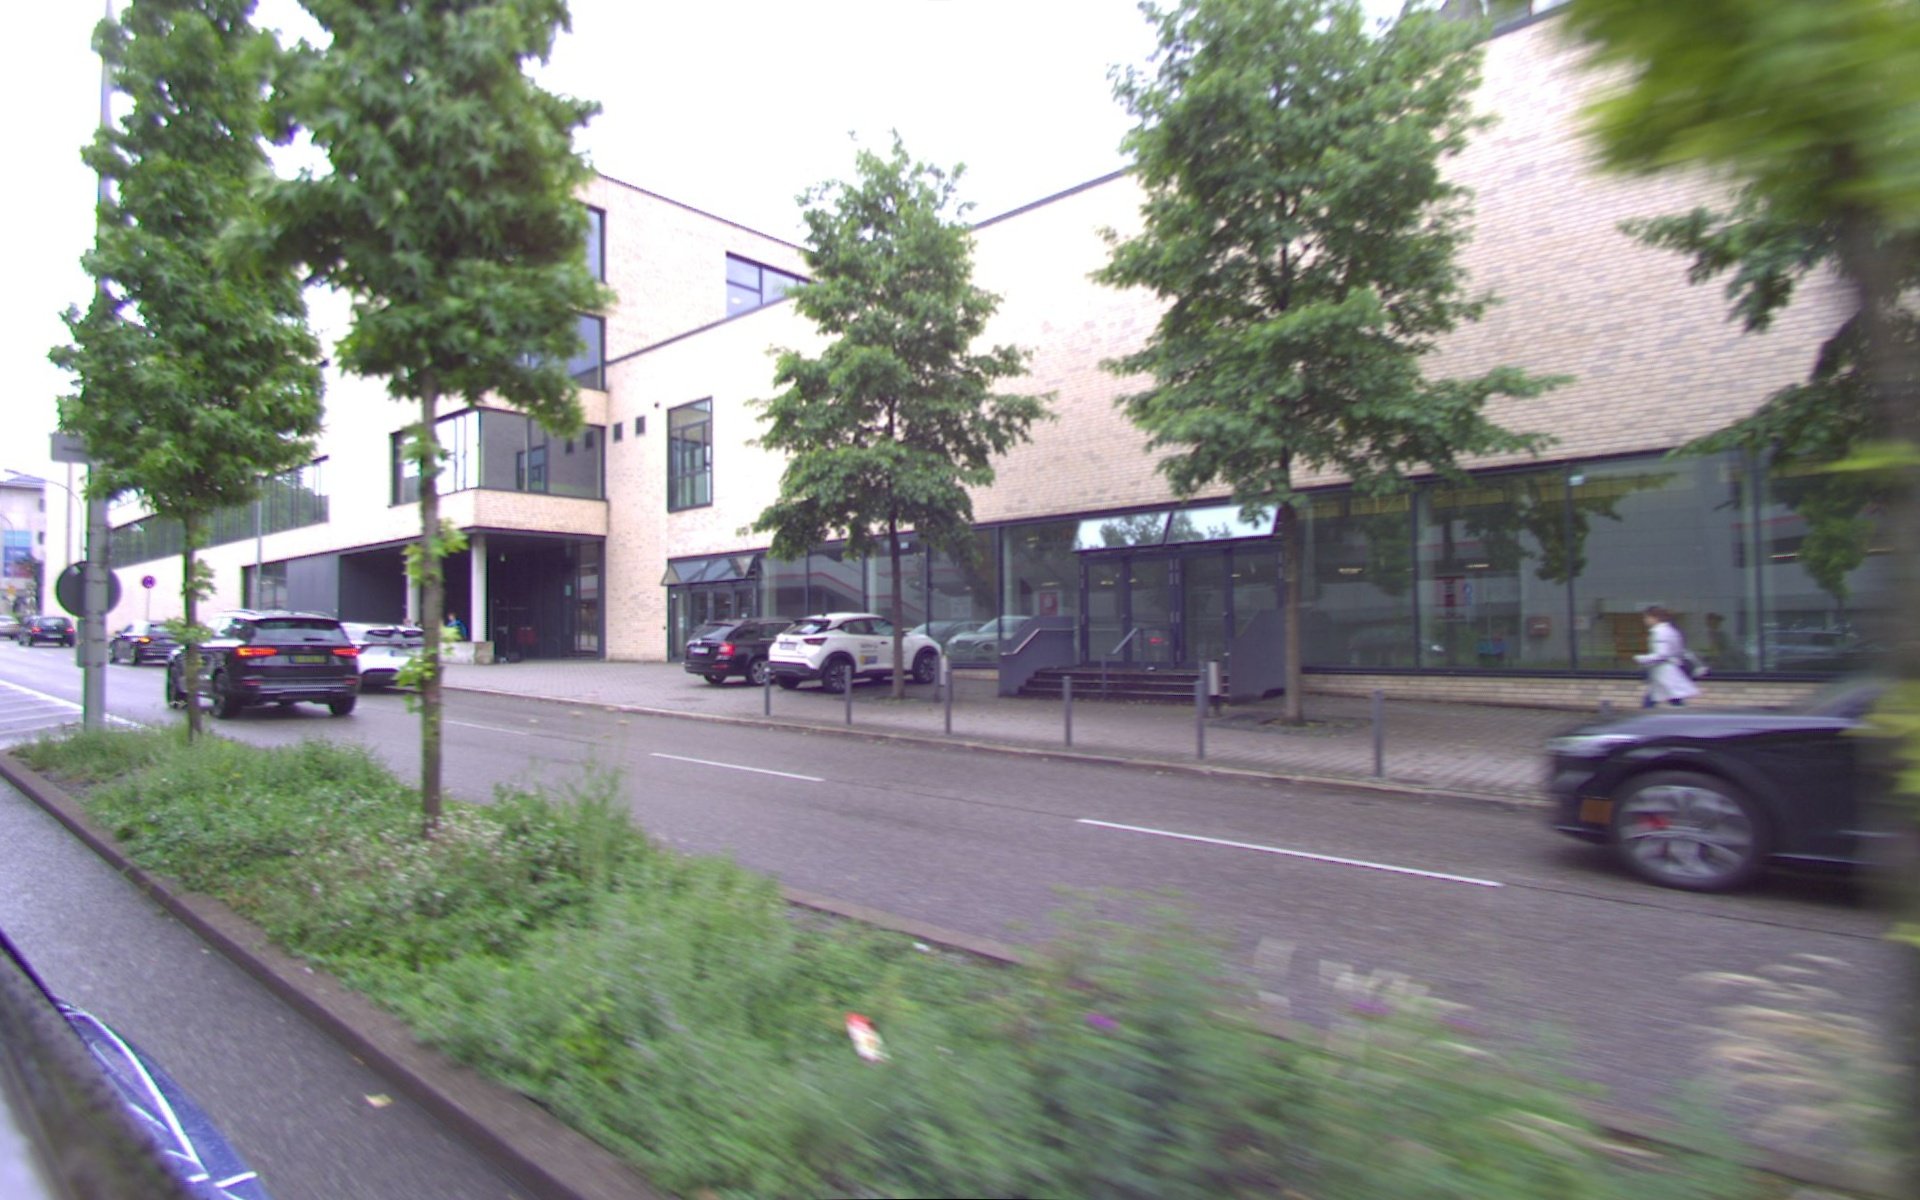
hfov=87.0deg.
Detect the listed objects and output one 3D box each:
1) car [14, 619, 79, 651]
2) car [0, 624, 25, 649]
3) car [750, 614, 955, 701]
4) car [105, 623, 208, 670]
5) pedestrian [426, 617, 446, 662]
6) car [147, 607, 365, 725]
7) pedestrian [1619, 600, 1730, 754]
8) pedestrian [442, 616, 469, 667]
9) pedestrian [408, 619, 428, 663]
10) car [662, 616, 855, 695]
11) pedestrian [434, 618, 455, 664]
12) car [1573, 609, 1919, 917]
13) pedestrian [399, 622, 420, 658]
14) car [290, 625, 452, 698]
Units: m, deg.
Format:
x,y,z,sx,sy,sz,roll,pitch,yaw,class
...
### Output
x,y,z,sx,sy,sz,roll,pitch,yaw,class
-43.295,1.659,47.928,3.968,1.423,1.727,-1,-4,40,car
-55.613,2.074,58.428,4.227,1.399,1.810,-1,-4,40,car
-2.241,1.149,21.886,2.000,1.559,4.130,0,1,43,car
-25.834,1.483,32.493,4.196,1.404,1.715,-1,-4,40,car
-17.670,1.339,34.126,0.463,1.486,0.445,0,1,37,pedestrian
-11.303,0.996,16.159,4.227,1.638,1.715,-1,-4,40,car
8.200,0.844,11.629,1.017,1.678,0.637,0,1,36,pedestrian
-17.556,1.435,35.222,0.704,1.727,0.628,0,1,42,pedestrian
-18.633,1.399,34.814,0.463,1.486,0.445,0,1,37,pedestrian
-4.543,1.199,23.332,1.996,1.506,4.140,0,1,35,car
-17.111,1.352,33.582,0.528,1.486,0.437,0,1,37,pedestrian
6.137,0.889,5.536,4.534,1.599,1.869,-1,-4,41,car
-19.275,1.394,35.414,0.422,1.224,0.542,0,1,44,pedestrian
-13.232,1.343,22.653,4.227,1.480,1.715,-1,-4,40,car
